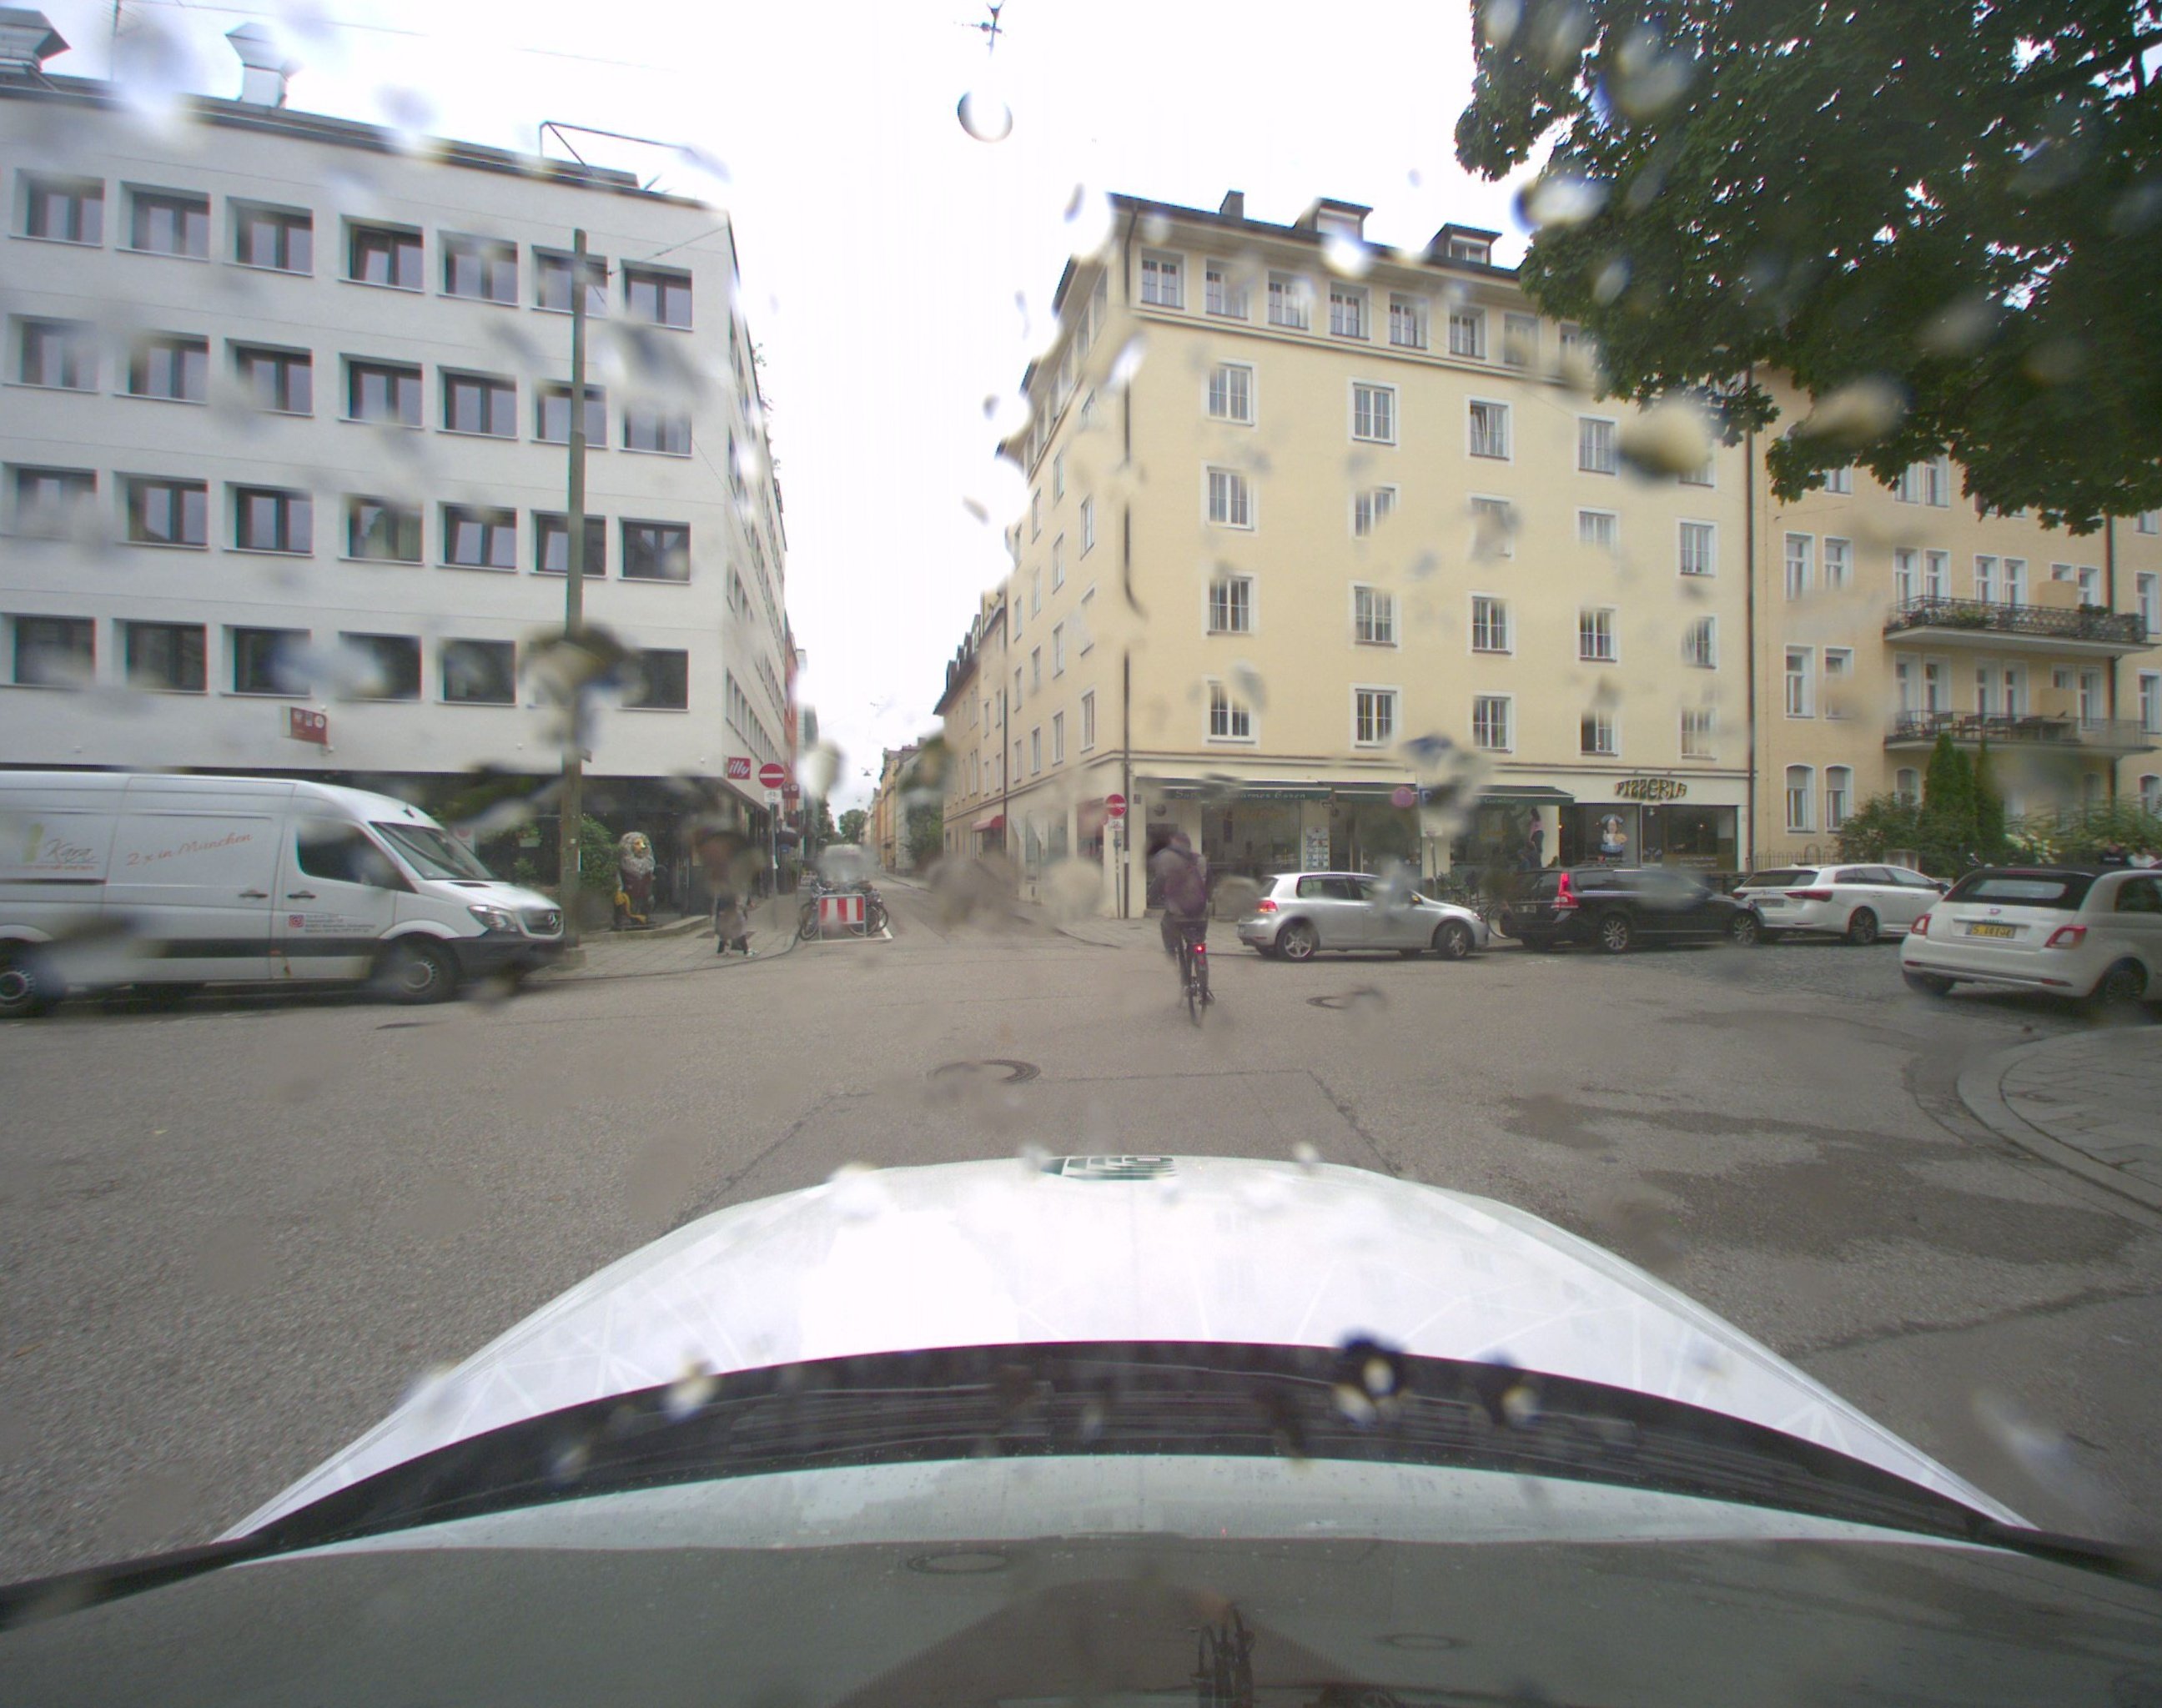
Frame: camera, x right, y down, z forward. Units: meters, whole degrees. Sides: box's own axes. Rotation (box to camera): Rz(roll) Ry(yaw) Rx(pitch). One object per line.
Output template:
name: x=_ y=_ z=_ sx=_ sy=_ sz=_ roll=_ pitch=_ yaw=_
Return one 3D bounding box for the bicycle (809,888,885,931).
bicycle: x=-5.684 y=1.338 z=19.799 sx=1.742 sy=0.968 sz=0.540 roll=0 pitch=-1 yaw=-20

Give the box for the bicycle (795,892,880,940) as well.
bicycle: x=-5.330 y=1.339 z=17.830 sx=1.760 sy=0.968 sz=0.591 roll=0 pitch=-1 yaw=-20

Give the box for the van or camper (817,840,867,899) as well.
van or camper: x=-10.985 y=0.667 z=37.638 sx=1.996 sy=2.540 sz=4.737 roll=0 pitch=0 yaw=-14

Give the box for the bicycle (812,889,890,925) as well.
bicycle: x=-5.963 y=1.359 z=21.109 sx=1.917 sy=0.863 sz=0.614 roll=0 pitch=-1 yaw=-20

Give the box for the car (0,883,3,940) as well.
car: x=-14.841 y=1.032 z=8.454 sx=4.061 sy=1.429 sz=1.790 roll=0 pitch=-3 yaw=-16

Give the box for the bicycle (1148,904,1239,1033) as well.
bicycle: x=1.023 y=1.025 z=7.725 sx=0.637 sy=1.004 sz=1.574 roll=0 pitch=0 yaw=0

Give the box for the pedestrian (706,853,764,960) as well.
pedestrian: x=-5.958 y=0.885 z=14.001 sx=0.795 sy=1.746 sz=0.765 roll=2 pitch=1 yaw=-29

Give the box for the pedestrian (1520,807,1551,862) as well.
pedestrian: x=13.165 y=-0.560 z=23.599 sx=0.553 sy=1.575 sz=0.575 roll=2 pitch=-1 yaw=-13

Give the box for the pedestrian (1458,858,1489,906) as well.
pedestrian: x=10.965 y=0.768 z=22.749 sx=0.515 sy=1.297 sz=0.577 roll=0 pitch=-1 yaw=-34

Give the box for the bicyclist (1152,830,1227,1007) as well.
bicyclist: x=1.020 y=0.585 z=7.782 sx=0.604 sy=1.606 sz=0.757 roll=-1 pitch=0 yaw=0

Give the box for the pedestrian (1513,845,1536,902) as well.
pedestrian: x=12.133 y=0.518 z=22.279 sx=0.550 sy=1.537 sz=0.437 roll=1 pitch=1 yaw=30

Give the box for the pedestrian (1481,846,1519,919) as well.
pedestrian: x=10.014 y=0.663 z=19.488 sx=0.602 sy=1.702 sz=0.541 roll=0 pitch=1 yaw=-12

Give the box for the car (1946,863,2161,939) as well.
car: x=20.621 y=0.957 z=16.967 sx=3.992 sy=1.449 sz=1.802 roll=0 pitch=-4 yaw=-14

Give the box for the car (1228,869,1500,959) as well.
car: x=4.666 y=1.008 z=13.833 sx=3.977 sy=1.416 sz=1.818 roll=0 pitch=-4 yaw=-3

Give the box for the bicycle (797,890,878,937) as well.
bicycle: x=-5.529 y=1.340 z=18.485 sx=1.742 sy=0.968 sz=0.540 roll=0 pitch=-1 yaw=-20

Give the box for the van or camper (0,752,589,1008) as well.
van or camper: x=-9.601 y=0.285 z=9.836 sx=5.909 sy=2.677 sz=1.865 roll=0 pitch=-2 yaw=-12

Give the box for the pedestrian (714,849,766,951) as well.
pedestrian: x=-6.230 y=0.817 z=14.872 sx=0.782 sy=1.783 sz=0.613 roll=2 pitch=1 yaw=-29

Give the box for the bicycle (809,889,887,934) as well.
bicycle: x=-5.498 y=1.341 z=19.203 sx=1.742 sy=0.968 sz=0.540 roll=0 pitch=-1 yaw=-20

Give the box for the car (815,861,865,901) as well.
car: x=-9.724 y=1.039 z=33.047 sx=1.835 sy=1.535 sz=3.979 roll=0 pitch=0 yaw=-15

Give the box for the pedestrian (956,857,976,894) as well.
pedestrian: x=-5.686 y=1.041 z=40.221 sx=0.879 sy=1.778 sz=0.769 roll=0 pitch=-1 yaw=-15

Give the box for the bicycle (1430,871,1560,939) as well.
bicycle: x=8.202 y=0.995 z=16.180 sx=2.084 sy=1.253 sz=1.102 roll=1 pitch=0 yaw=-13

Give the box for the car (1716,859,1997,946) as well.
car: x=14.729 y=0.890 z=15.536 sx=4.341 sy=1.503 sz=1.812 roll=0 pitch=-3 yaw=-14

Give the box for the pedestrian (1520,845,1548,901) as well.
pedestrian: x=12.749 y=0.533 z=22.925 sx=0.436 sy=1.551 sz=0.529 roll=0 pitch=-1 yaw=-31

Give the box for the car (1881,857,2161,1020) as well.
car: x=10.846 y=0.792 z=8.771 sx=3.322 sy=1.487 sz=1.622 roll=0 pitch=1 yaw=-11

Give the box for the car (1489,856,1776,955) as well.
car: x=9.775 y=0.871 z=14.533 sx=4.341 sy=1.592 sz=1.812 roll=0 pitch=-2 yaw=-14

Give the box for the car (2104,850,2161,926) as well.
car: x=25.410 y=0.738 z=18.052 sx=3.990 sy=1.638 sz=1.746 roll=0 pitch=-3 yaw=-12

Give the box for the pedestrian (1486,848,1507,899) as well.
pedestrian: x=11.917 y=0.560 z=23.351 sx=0.507 sy=1.433 sz=0.586 roll=-1 pitch=-1 yaw=28
